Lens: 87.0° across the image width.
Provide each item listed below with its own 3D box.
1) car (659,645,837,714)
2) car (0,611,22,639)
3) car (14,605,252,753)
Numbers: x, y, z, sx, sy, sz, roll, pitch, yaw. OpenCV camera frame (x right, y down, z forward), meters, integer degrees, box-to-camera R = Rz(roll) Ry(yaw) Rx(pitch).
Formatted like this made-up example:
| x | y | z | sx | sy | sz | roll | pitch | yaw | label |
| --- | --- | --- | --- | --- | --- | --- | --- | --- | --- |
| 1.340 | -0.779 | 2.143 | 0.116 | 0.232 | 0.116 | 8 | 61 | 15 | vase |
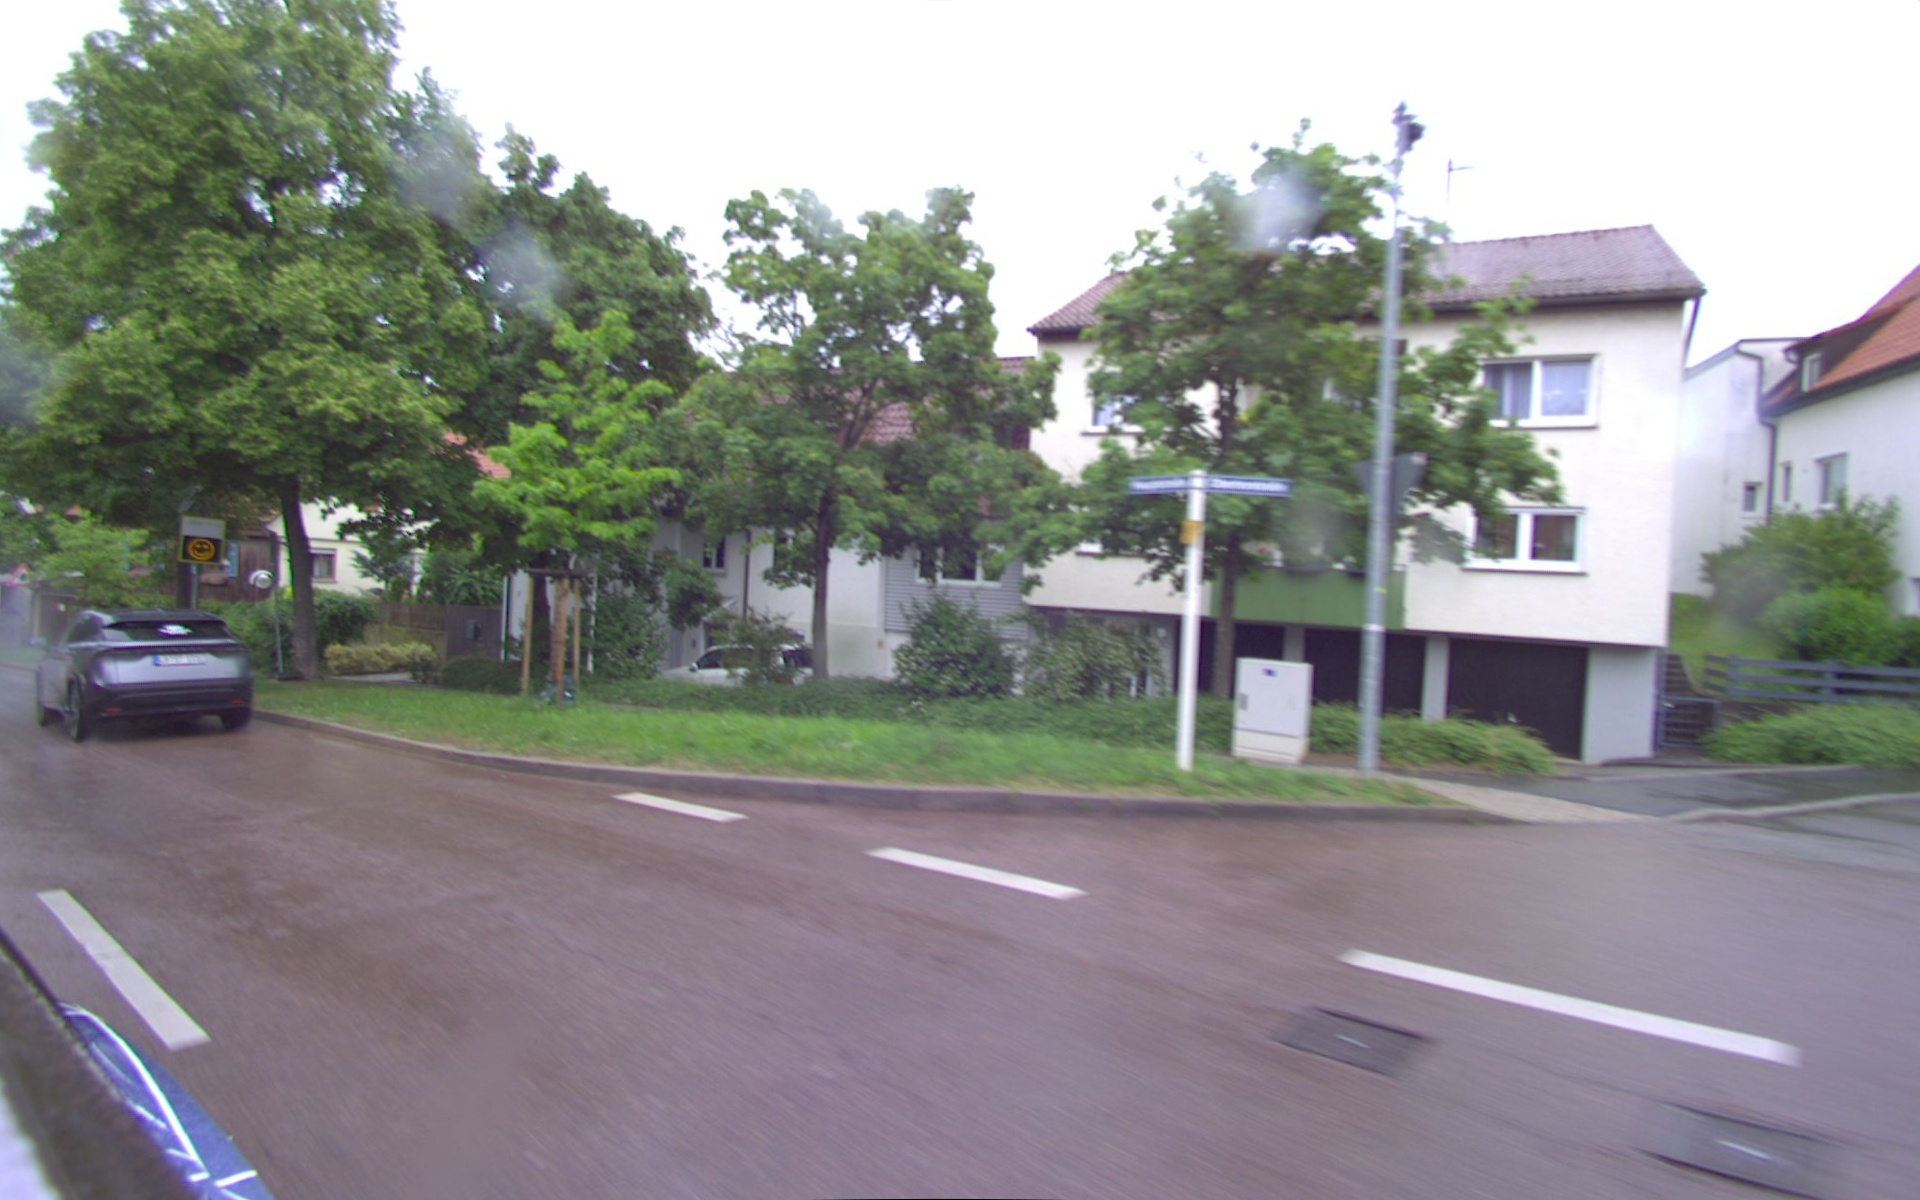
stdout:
| x | y | z | sx | sy | sz | roll | pitch | yaw | label |
| --- | --- | --- | --- | --- | --- | --- | --- | --- | --- |
| -4.725 | 1.720 | 22.597 | 3.428 | 1.339 | 1.983 | -1 | -1 | 26 | car |
| -53.911 | 1.390 | 55.526 | 3.961 | 1.544 | 1.719 | -1 | -1 | 14 | car |
| -11.304 | 0.949 | 13.727 | 4.372 | 1.701 | 1.733 | -1 | -1 | 40 | car |
